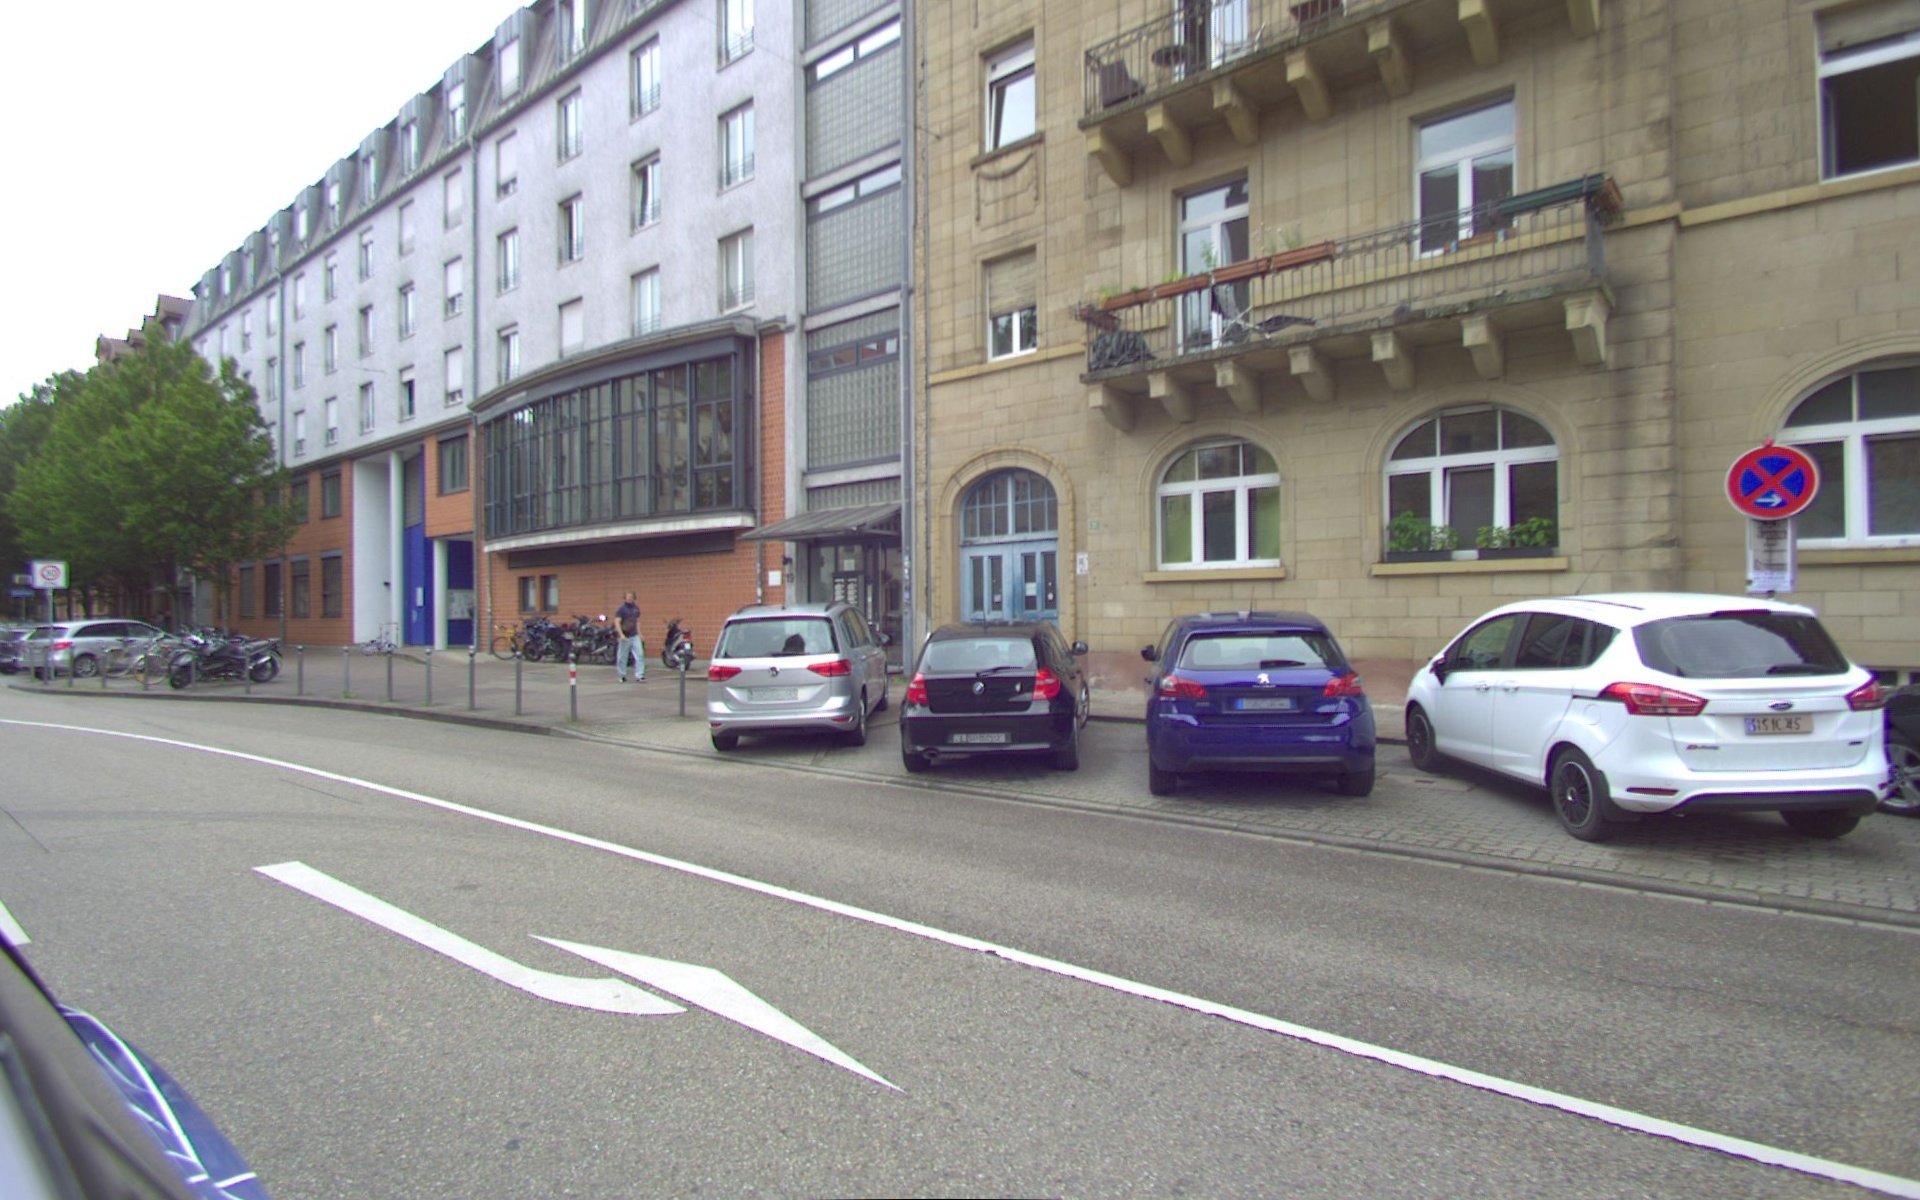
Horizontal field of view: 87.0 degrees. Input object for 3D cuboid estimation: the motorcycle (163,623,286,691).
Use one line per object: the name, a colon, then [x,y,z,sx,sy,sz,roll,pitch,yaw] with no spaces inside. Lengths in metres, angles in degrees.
motorcycle: [-16.132,1.218,22.249,0.599,1.363,2.096,-1,0,41]

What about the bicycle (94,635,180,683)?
bicycle: [-20.720,1.467,25.493,0.416,1.082,1.609,-1,0,39]

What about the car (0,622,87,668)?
car: [-35.301,1.660,37.562,1.983,1.641,3.976,-1,-1,18]

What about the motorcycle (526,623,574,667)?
motorcycle: [-10.653,1.153,26.255,1.762,1.106,0.440,-2,-2,42]

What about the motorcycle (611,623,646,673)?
motorcycle: [-7.616,1.086,23.213,0.438,1.106,1.768,0,-1,-29]

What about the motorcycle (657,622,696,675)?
motorcycle: [-6.263,1.053,22.313,0.438,1.106,1.768,0,-1,-29]

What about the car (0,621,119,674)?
car: [-30.824,1.540,33.655,1.983,1.641,3.976,-1,-1,18]

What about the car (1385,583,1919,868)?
car: [4.882,0.688,7.726,1.681,1.565,3.997,-2,1,3]

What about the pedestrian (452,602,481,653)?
pedestrian: [-16.222,0.884,33.296,0.622,1.662,0.677,-1,-1,42]

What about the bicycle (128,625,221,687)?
bicycle: [-17.891,1.258,23.071,0.416,1.299,1.609,-1,0,39]

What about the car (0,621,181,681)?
car: [-25.963,1.466,30.138,1.983,1.641,3.976,-1,-1,18]

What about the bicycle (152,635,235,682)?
bicycle: [-19.271,1.455,25.473,0.416,1.082,1.609,-1,0,39]

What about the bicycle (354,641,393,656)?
bicycle: [-19.321,1.592,33.365,0.527,0.440,0.997,1,0,42]

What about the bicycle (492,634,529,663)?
bicycle: [-12.478,1.332,28.091,1.581,0.793,0.332,-2,-2,42]

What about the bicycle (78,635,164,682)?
bicycle: [-21.318,1.476,25.736,0.416,1.082,1.609,-1,0,39]

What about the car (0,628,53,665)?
car: [-40.366,1.939,41.834,1.723,1.508,3.976,-1,-1,18]

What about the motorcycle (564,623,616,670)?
motorcycle: [-9.130,1.137,24.949,1.762,1.106,0.440,-2,-2,42]

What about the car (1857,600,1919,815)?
car: [7.091,0.724,5.194,1.640,1.428,3.994,-1,0,5]

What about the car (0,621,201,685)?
car: [-23.956,1.425,28.395,1.758,1.641,3.976,-1,-1,18]

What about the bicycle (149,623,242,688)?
bicycle: [-17.200,1.224,22.800,0.416,1.363,1.609,-1,0,39]

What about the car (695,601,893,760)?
car: [-1.895,0.854,12.727,1.710,1.565,3.998,-2,1,1]

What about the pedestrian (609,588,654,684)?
pedestrian: [-6.464,0.705,19.918,0.642,1.837,0.613,-2,-2,41]

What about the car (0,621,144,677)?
car: [-28.605,1.505,31.993,1.983,1.641,3.976,-1,-1,18]

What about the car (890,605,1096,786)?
car: [0.540,0.861,10.846,1.713,1.449,3.990,-2,1,9]

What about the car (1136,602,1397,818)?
car: [2.565,0.825,9.279,1.804,1.456,3.737,-2,1,11]
